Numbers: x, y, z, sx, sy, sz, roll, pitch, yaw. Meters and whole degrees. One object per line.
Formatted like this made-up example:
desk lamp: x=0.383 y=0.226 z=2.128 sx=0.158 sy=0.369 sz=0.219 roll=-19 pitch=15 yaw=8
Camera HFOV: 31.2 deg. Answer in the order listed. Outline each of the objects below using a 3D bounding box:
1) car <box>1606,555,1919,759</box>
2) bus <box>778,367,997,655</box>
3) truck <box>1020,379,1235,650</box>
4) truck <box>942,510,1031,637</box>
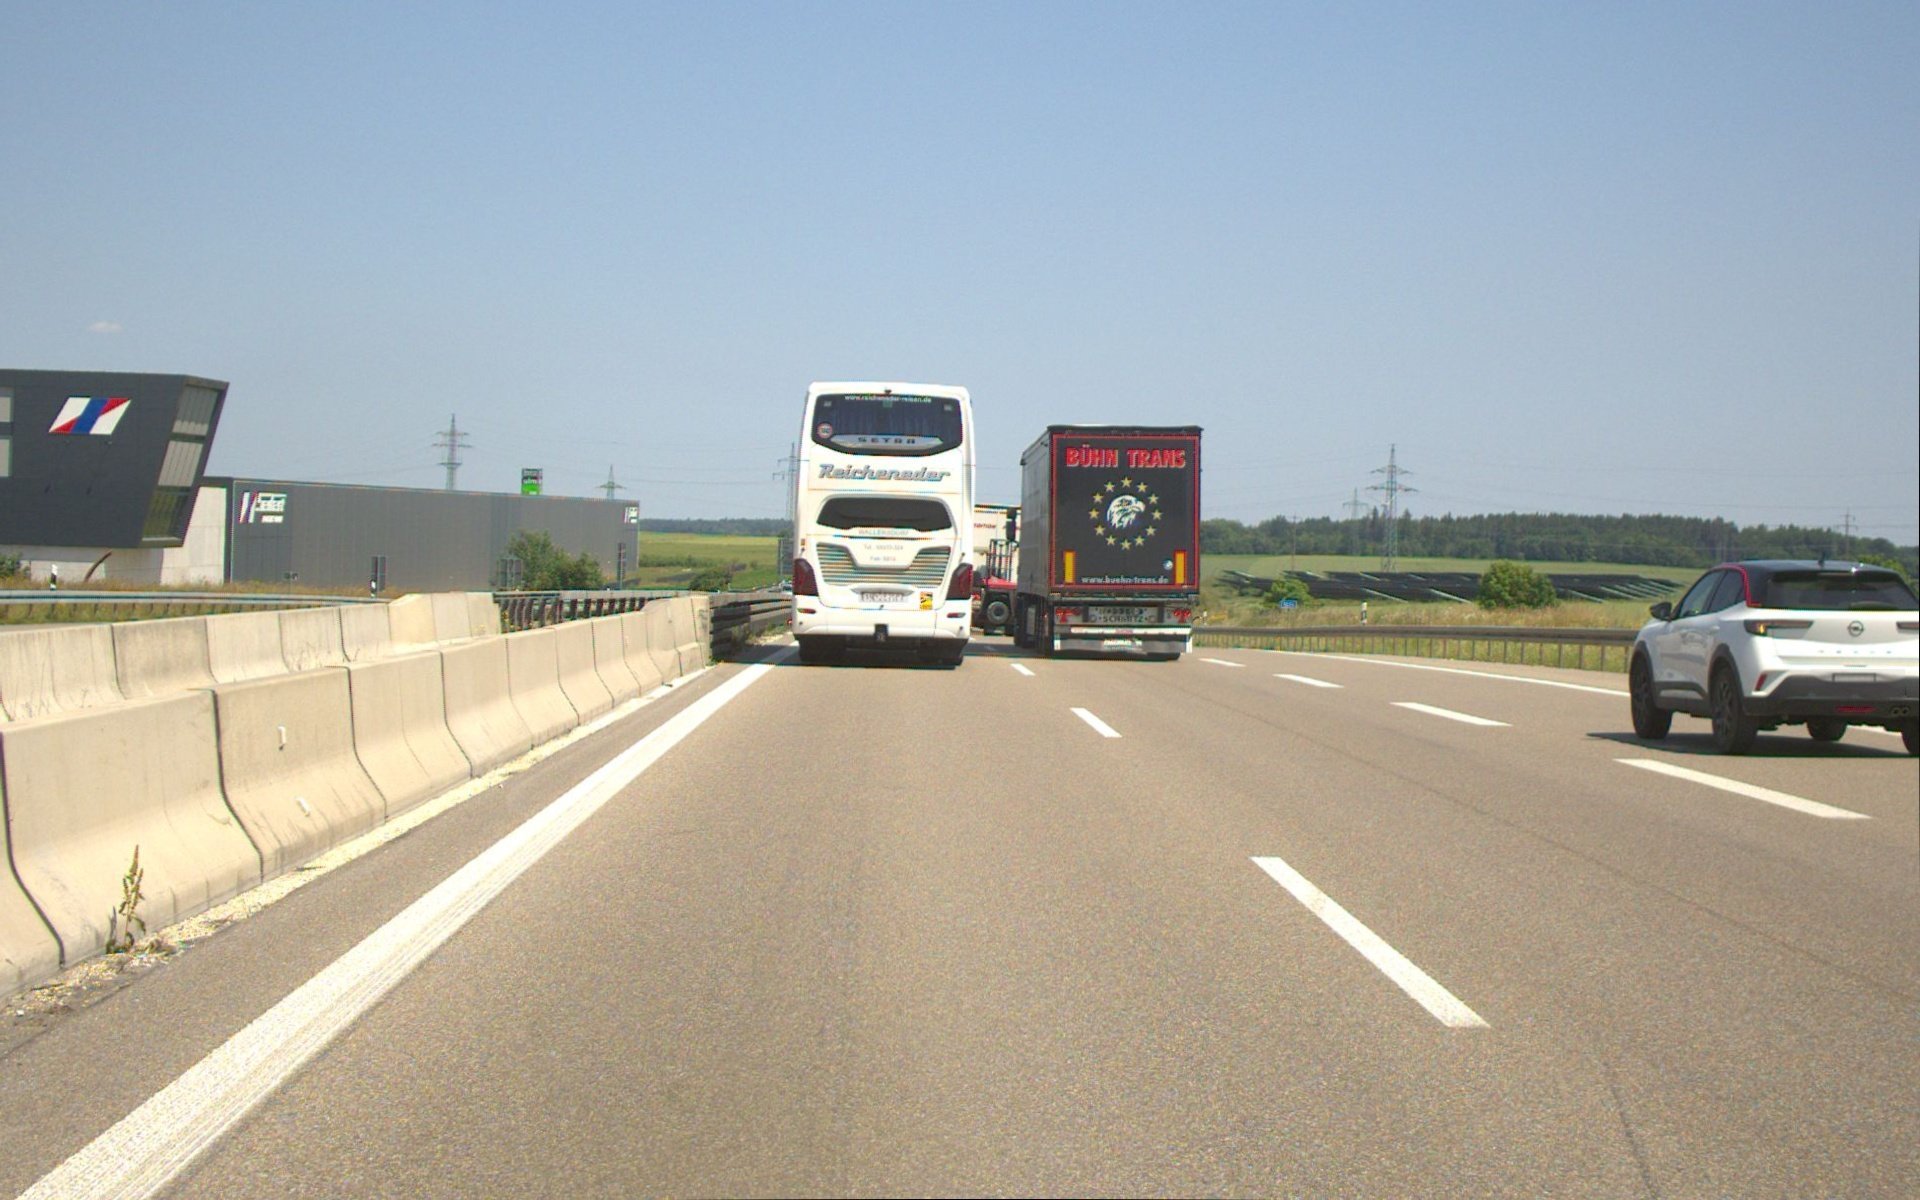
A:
car: x=6.788 y=0.410 z=28.376 sx=1.891 sy=1.524 sz=4.262 roll=1 pitch=1 yaw=-3
bus: x=-1.161 y=-1.394 z=52.277 sx=2.980 sy=3.961 sz=9.106 roll=1 pitch=2 yaw=-2
truck: x=2.902 y=-1.347 z=64.058 sx=3.379 sy=4.448 sz=13.566 roll=1 pitch=-1 yaw=1
truck: x=0.775 y=-0.834 z=106.441 sx=2.437 sy=3.776 sz=6.494 roll=1 pitch=0 yaw=-2
